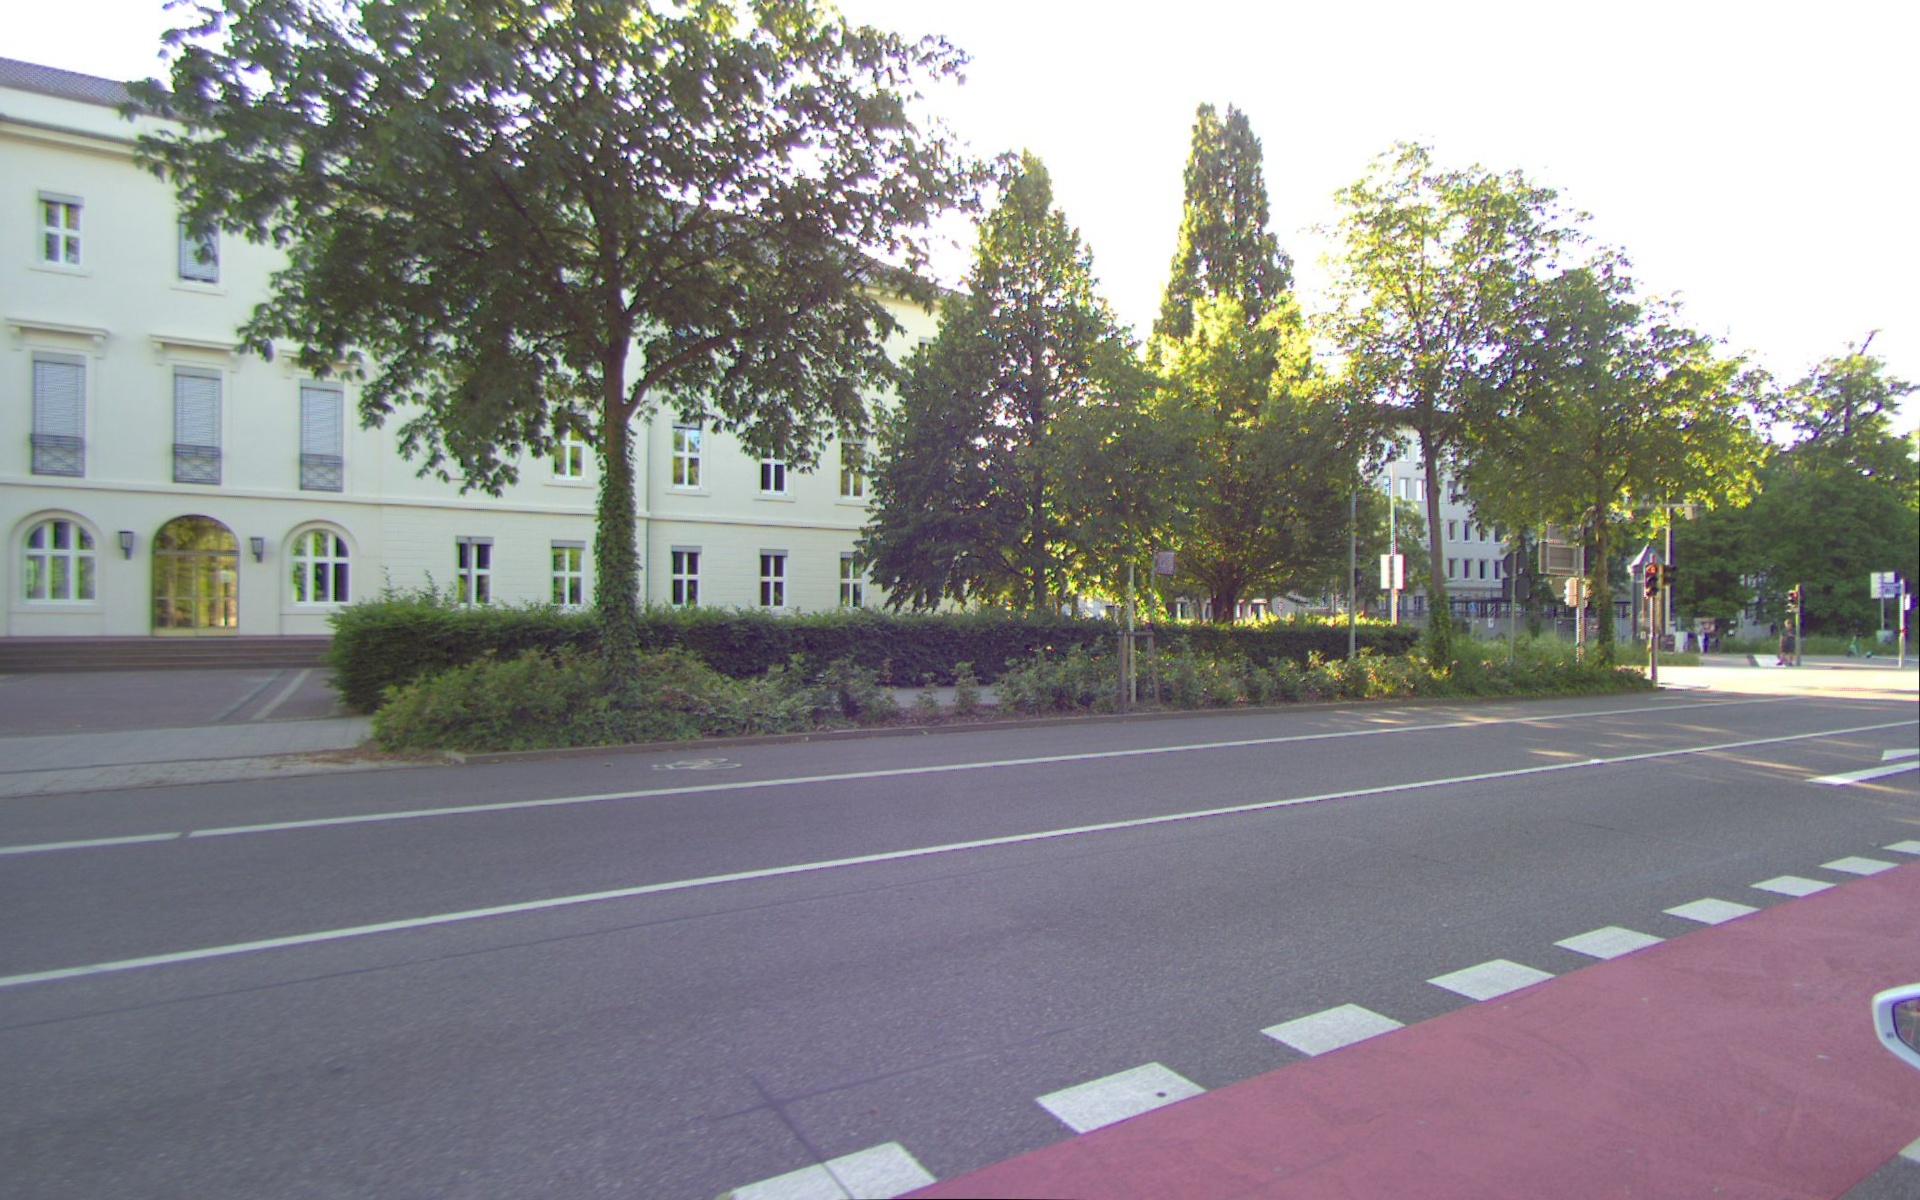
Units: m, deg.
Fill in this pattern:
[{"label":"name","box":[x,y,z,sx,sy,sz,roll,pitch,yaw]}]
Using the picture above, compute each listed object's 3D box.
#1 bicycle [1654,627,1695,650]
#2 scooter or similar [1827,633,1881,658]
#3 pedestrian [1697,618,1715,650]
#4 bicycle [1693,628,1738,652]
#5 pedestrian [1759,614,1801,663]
[{"label":"bicycle","box":[38.082,2.047,53.541,0.436,1.163,1.860,1,0,-19]},{"label":"scooter or similar","box":[42.838,2.161,48.124,1.882,1.139,0.713,1,0,3]},{"label":"pedestrian","box":[38.373,1.758,51.679,0.442,1.602,0.624,1,0,-39]},{"label":"bicycle","box":[38.918,2.044,51.778,0.287,1.163,1.849,1,0,-35]},{"label":"pedestrian","box":[35.591,1.667,43.597,1.174,2.040,0.992,1,0,-24]}]
